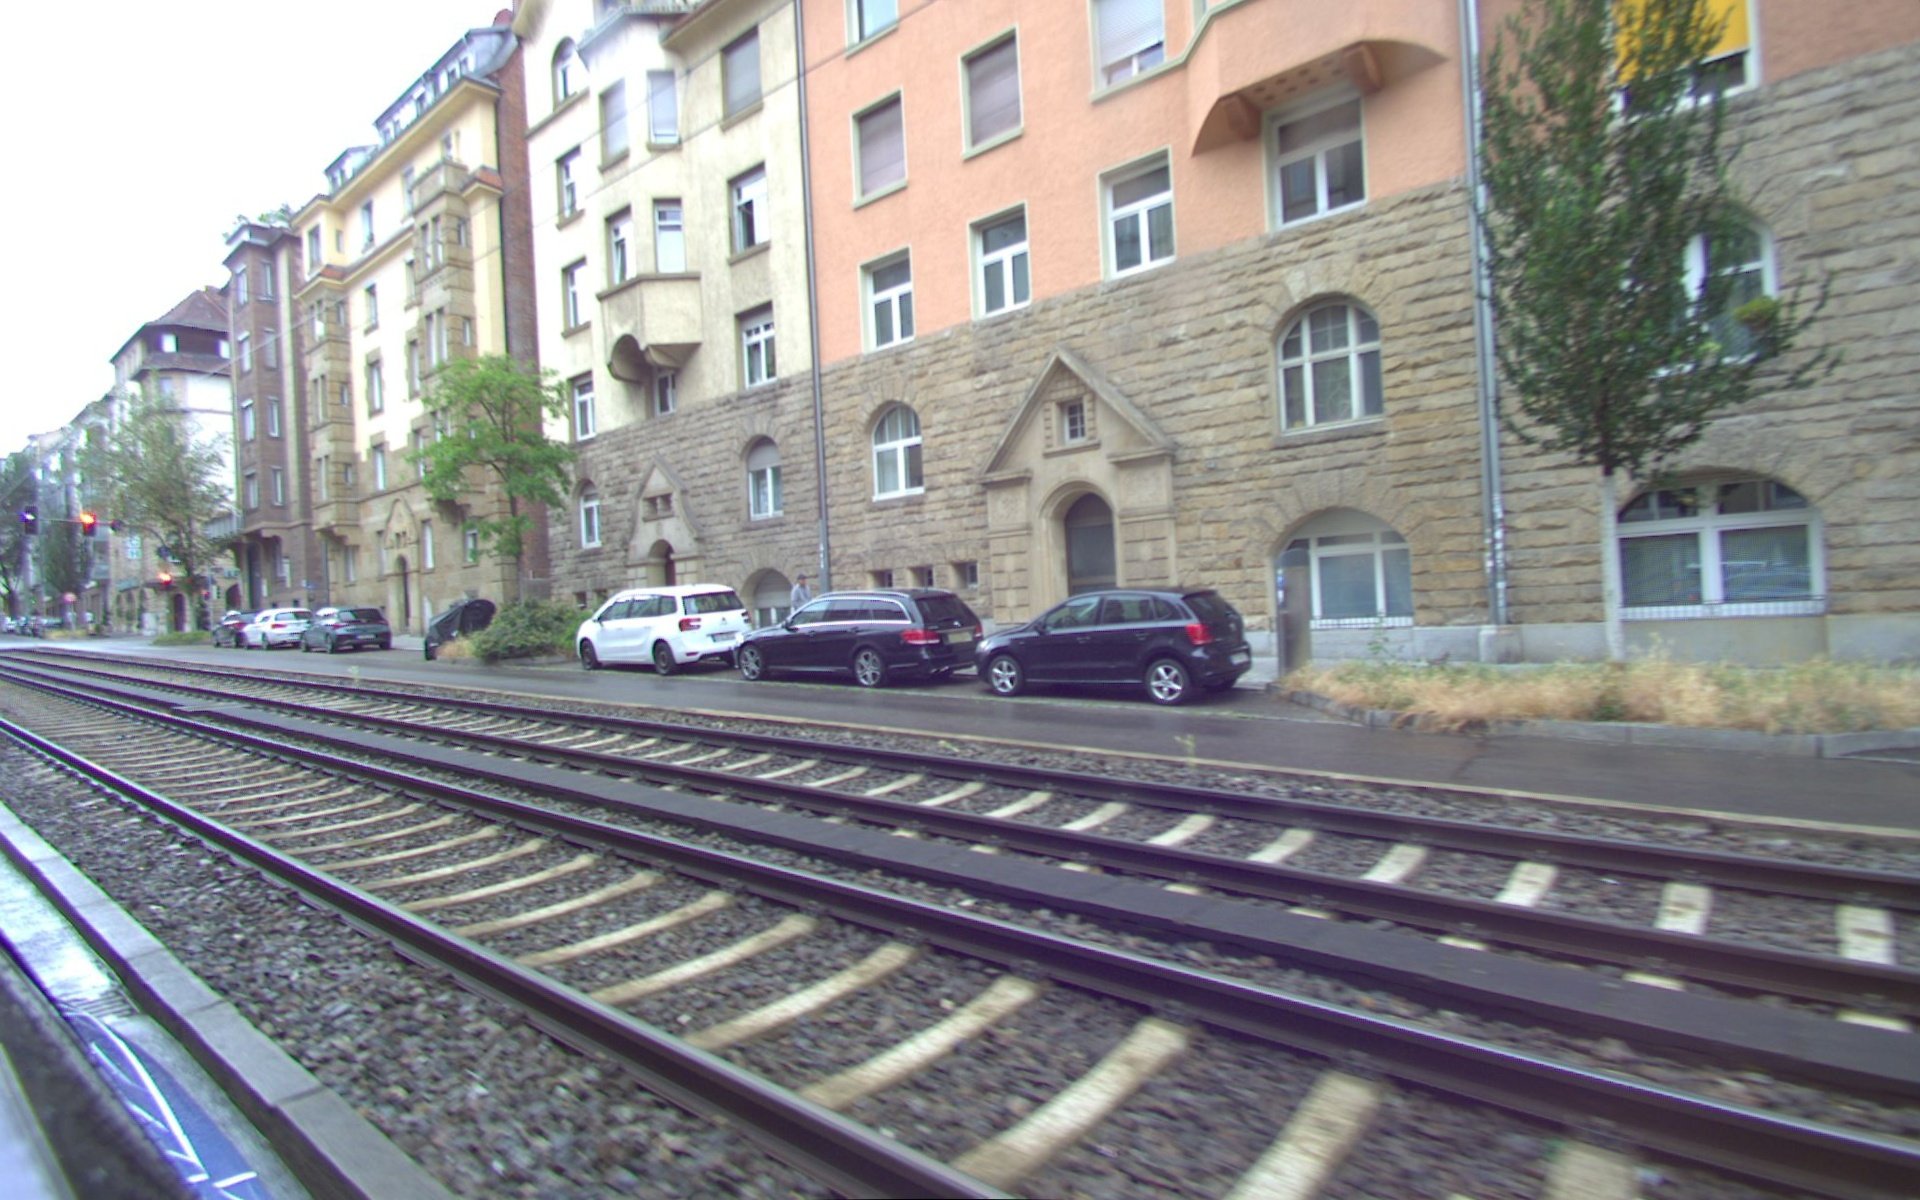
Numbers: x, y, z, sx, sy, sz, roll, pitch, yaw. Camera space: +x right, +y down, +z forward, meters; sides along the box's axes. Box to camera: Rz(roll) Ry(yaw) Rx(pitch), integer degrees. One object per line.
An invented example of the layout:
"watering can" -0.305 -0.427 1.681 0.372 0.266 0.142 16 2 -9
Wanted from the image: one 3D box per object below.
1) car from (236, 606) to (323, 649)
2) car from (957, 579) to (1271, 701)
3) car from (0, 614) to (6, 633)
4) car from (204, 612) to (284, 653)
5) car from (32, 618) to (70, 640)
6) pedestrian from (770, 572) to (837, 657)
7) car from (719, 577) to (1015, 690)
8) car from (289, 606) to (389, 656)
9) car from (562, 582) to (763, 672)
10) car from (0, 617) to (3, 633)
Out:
"car" -24.754 0.986 36.743 4.262 1.436 1.649 -1 1 42
"car" 1.990 0.493 13.664 3.879 1.408 1.626 -2 1 38
"car" -86.043 2.100 89.699 4.157 1.581 1.758 -1 1 41
"car" -28.546 1.248 40.300 3.999 1.497 1.746 0 1 42
"car" -66.319 2.096 73.803 3.527 1.509 1.787 -1 1 44
"pedestrian" -3.356 0.302 21.683 0.923 1.766 0.997 -2 1 38
"car" -1.666 0.507 16.746 4.973 1.520 1.973 -1 2 42
"car" -20.199 0.981 32.853 4.144 1.448 1.545 -1 2 41
"car" -6.061 0.525 20.353 4.348 1.601 1.766 -2 0 40
"car" -91.225 2.347 94.759 4.465 1.451 1.887 -1 1 40
